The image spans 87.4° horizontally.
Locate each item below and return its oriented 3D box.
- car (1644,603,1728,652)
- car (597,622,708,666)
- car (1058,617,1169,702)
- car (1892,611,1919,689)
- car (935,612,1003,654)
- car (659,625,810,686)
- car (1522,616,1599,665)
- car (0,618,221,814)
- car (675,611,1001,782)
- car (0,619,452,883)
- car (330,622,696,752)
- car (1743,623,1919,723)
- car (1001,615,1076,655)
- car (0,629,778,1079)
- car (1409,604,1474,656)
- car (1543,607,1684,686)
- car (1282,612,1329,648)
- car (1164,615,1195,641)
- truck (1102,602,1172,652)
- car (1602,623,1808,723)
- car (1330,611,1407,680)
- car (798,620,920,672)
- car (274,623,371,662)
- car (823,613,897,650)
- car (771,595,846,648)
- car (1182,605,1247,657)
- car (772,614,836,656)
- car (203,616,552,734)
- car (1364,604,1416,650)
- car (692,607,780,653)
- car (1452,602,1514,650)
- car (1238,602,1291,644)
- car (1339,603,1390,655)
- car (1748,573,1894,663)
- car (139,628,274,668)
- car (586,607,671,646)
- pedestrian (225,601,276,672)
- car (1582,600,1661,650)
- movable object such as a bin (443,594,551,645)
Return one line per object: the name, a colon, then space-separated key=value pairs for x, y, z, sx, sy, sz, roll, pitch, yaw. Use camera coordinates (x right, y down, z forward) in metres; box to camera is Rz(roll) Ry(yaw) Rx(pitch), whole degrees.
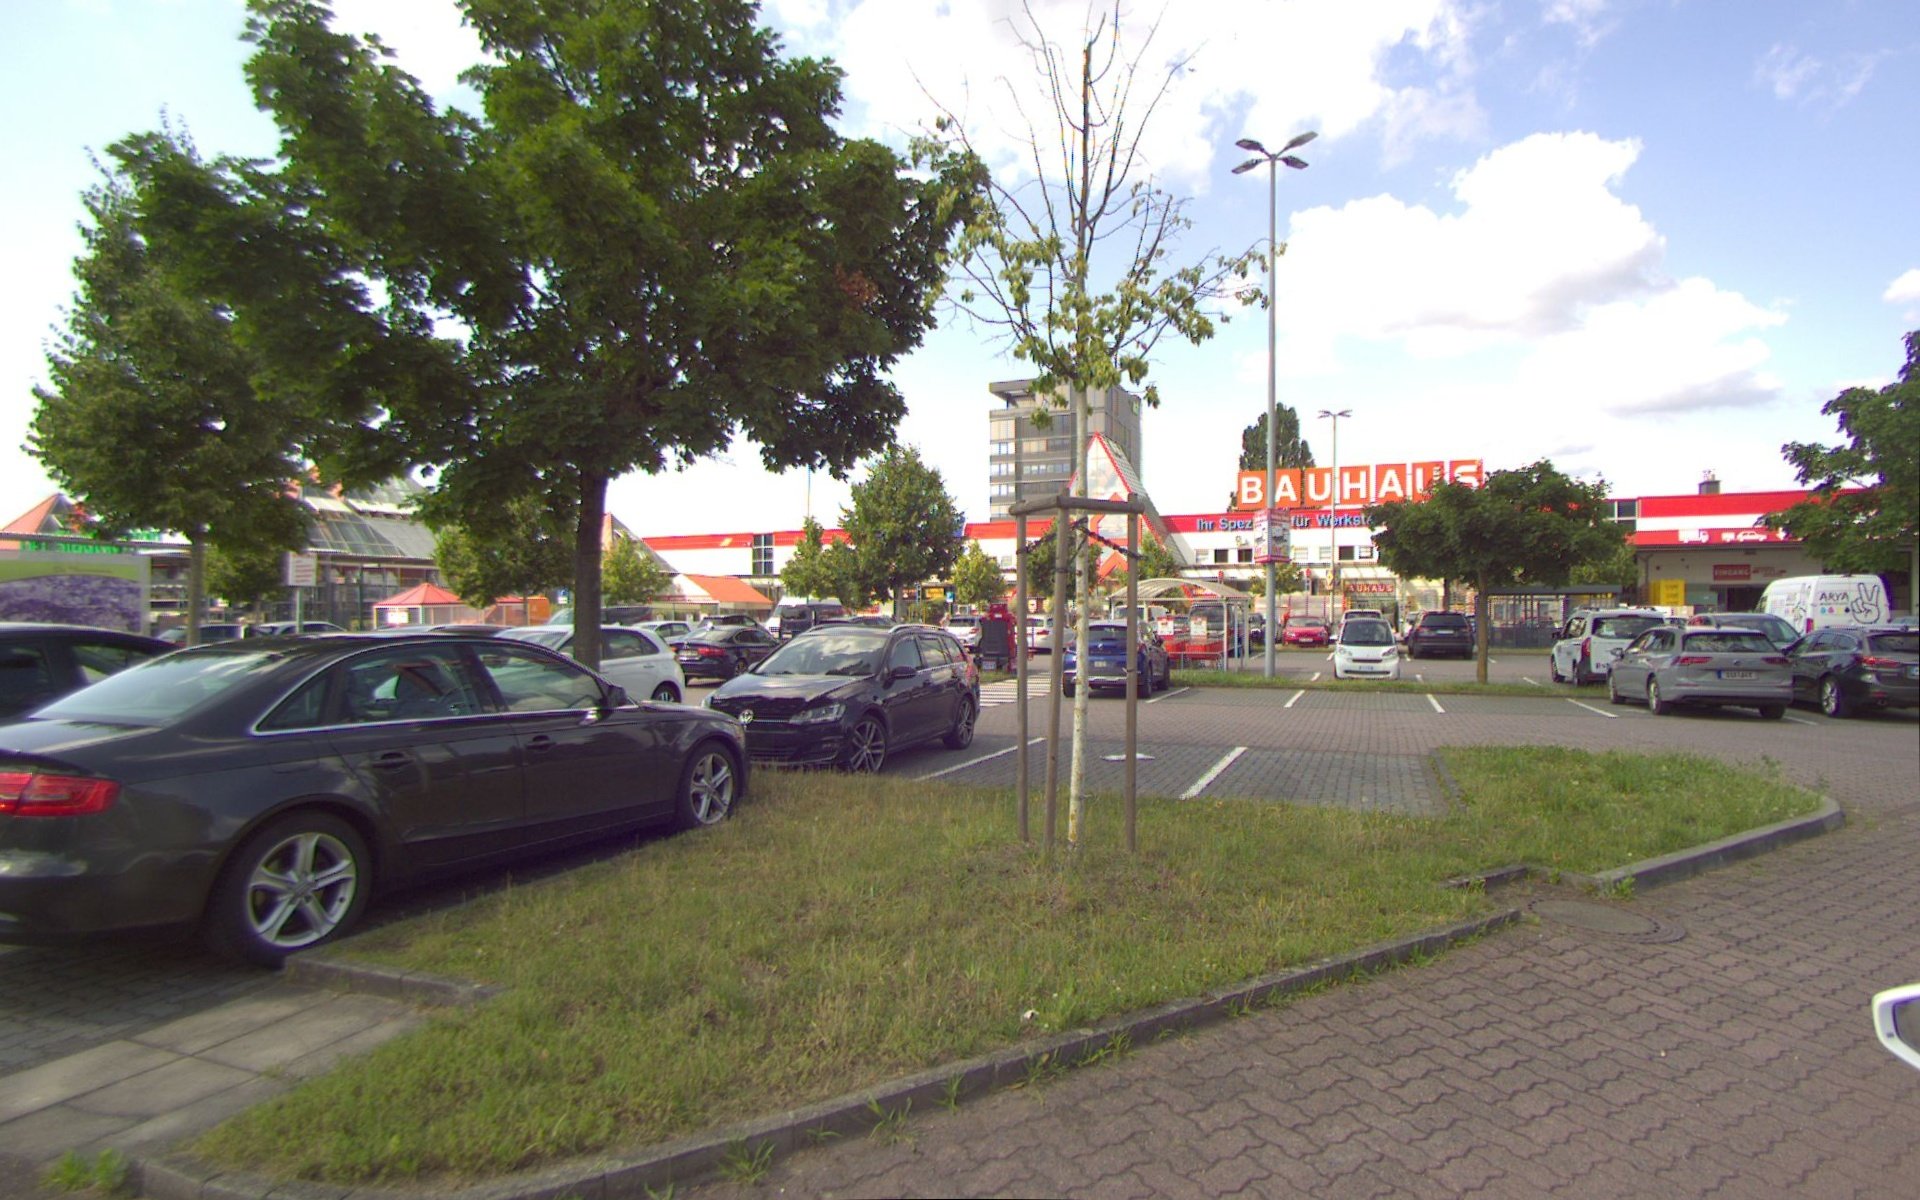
car: x=32.147 y=1.214 z=44.625 sx=1.961 sy=2.040 sz=4.000 roll=1 pitch=-1 yaw=20
car: x=-10.443 y=1.463 z=34.347 sx=1.711 sy=1.405 sz=3.558 roll=0 pitch=-1 yaw=25
car: x=3.351 y=1.191 z=21.409 sx=1.717 sy=1.636 sz=3.725 roll=0 pitch=-1 yaw=19
car: x=20.915 y=1.046 z=20.446 sx=1.964 sy=1.639 sz=3.993 roll=-1 pitch=-1 yaw=30
car: x=0.404 y=1.337 z=40.922 sx=1.694 sy=1.529 sz=3.237 roll=3 pitch=0 yaw=21
car: x=-5.508 y=1.315 z=25.132 sx=1.710 sy=1.381 sz=4.252 roll=0 pitch=-1 yaw=19
car: x=19.628 y=1.290 z=32.946 sx=1.513 sy=1.424 sz=3.625 roll=3 pitch=0 yaw=21
car: x=-7.936 y=0.839 z=7.101 sx=1.732 sy=1.417 sz=4.088 roll=0 pitch=-1 yaw=21
car: x=-1.051 y=0.873 z=10.783 sx=1.758 sy=1.370 sz=4.066 roll=3 pitch=0 yaw=20
car: x=-5.482 y=0.821 z=6.411 sx=1.549 sy=1.387 sz=3.999 roll=0 pitch=-1 yaw=21
car: x=-5.454 y=0.968 z=12.945 sx=1.857 sy=1.371 sz=4.281 roll=0 pitch=-1 yaw=20
car: x=15.037 y=1.127 z=16.801 sx=1.792 sy=1.458 sz=4.091 roll=0 pitch=-1 yaw=19
car: x=3.196 y=1.357 z=40.197 sx=1.961 sy=1.529 sz=4.000 roll=0 pitch=-1 yaw=21
car: x=-3.061 y=0.915 z=5.781 sx=1.738 sy=1.451 sz=4.540 roll=0 pitch=-1 yaw=24
car: x=16.546 y=0.990 z=34.626 sx=1.731 sy=1.545 sz=3.468 roll=-2 pitch=2 yaw=21
car: x=14.694 y=0.991 z=22.823 sx=1.873 sy=1.617 sz=3.999 roll=0 pitch=-1 yaw=21
car: x=14.382 y=1.232 z=41.925 sx=1.708 sy=1.357 sz=3.467 roll=3 pitch=0 yaw=18
car: x=12.164 y=1.539 z=55.631 sx=1.362 sy=1.416 sz=3.400 roll=-1 pitch=-1 yaw=18
truck: x=8.164 y=1.219 z=45.899 sx=1.825 sy=2.040 sz=5.405 roll=3 pitch=0 yaw=24
car: x=12.346 y=1.121 z=16.926 sx=1.691 sy=1.466 sz=3.774 roll=0 pitch=-1 yaw=19
car: x=10.448 y=1.104 z=25.682 sx=1.687 sy=1.617 sz=3.998 roll=0 pitch=-1 yaw=23
car: x=-3.044 y=1.371 z=31.258 sx=1.961 sy=1.487 sz=4.415 roll=0 pitch=-1 yaw=22
car: x=-25.987 y=1.708 z=41.030 sx=1.434 sy=1.440 sz=2.987 roll=3 pitch=0 yaw=24
car: x=-4.891 y=1.538 z=49.616 sx=1.961 sy=1.653 sz=3.999 roll=3 pitch=0 yaw=22
car: x=-8.016 y=1.137 z=53.544 sx=2.194 sy=2.671 sz=4.331 roll=1 pitch=-1 yaw=18
car: x=9.525 y=1.124 z=37.415 sx=1.961 sy=1.802 sz=4.000 roll=0 pitch=-1 yaw=20
car: x=-6.709 y=1.496 z=43.520 sx=1.662 sy=1.635 sz=2.658 roll=3 pitch=0 yaw=18
car: x=-7.844 y=0.935 z=13.972 sx=1.789 sy=1.300 sz=3.891 roll=3 pitch=0 yaw=21
car: x=20.915 y=1.324 z=48.994 sx=1.961 sy=2.040 sz=4.000 roll=3 pitch=0 yaw=20
car: x=-10.275 y=1.362 z=46.292 sx=1.962 sy=2.040 sz=3.997 roll=0 pitch=-1 yaw=25
car: x=24.632 y=1.220 z=47.455 sx=1.961 sy=2.040 sz=4.000 roll=3 pitch=0 yaw=20
car: x=16.347 y=1.235 z=53.866 sx=1.963 sy=2.040 sz=3.995 roll=3 pitch=0 yaw=27
car: x=14.450 y=1.043 z=35.972 sx=1.571 sy=1.766 sz=3.166 roll=-1 pitch=-2 yaw=21
car: x=26.259 y=0.500 z=30.850 sx=2.013 sy=2.543 sz=4.726 roll=1 pitch=0 yaw=23
car: x=-24.238 y=1.563 z=32.377 sx=1.526 sy=1.235 sz=3.250 roll=-4 pitch=-5 yaw=43
car: x=-19.171 y=1.517 z=58.286 sx=1.961 sy=2.040 sz=4.806 roll=3 pitch=0 yaw=22
pedestrian: x=-20.788 y=1.057 z=29.428 sx=0.801 sy=2.040 sz=0.915 roll=0 pitch=-1 yaw=21
car: x=29.589 y=1.120 z=45.055 sx=1.961 sy=2.040 sz=4.000 roll=3 pitch=0 yaw=20
movable object such as a bin: x=-24.114 y=1.044 z=52.585 sx=2.088 sy=2.527 sz=5.339 roll=0 pitch=-1 yaw=18
